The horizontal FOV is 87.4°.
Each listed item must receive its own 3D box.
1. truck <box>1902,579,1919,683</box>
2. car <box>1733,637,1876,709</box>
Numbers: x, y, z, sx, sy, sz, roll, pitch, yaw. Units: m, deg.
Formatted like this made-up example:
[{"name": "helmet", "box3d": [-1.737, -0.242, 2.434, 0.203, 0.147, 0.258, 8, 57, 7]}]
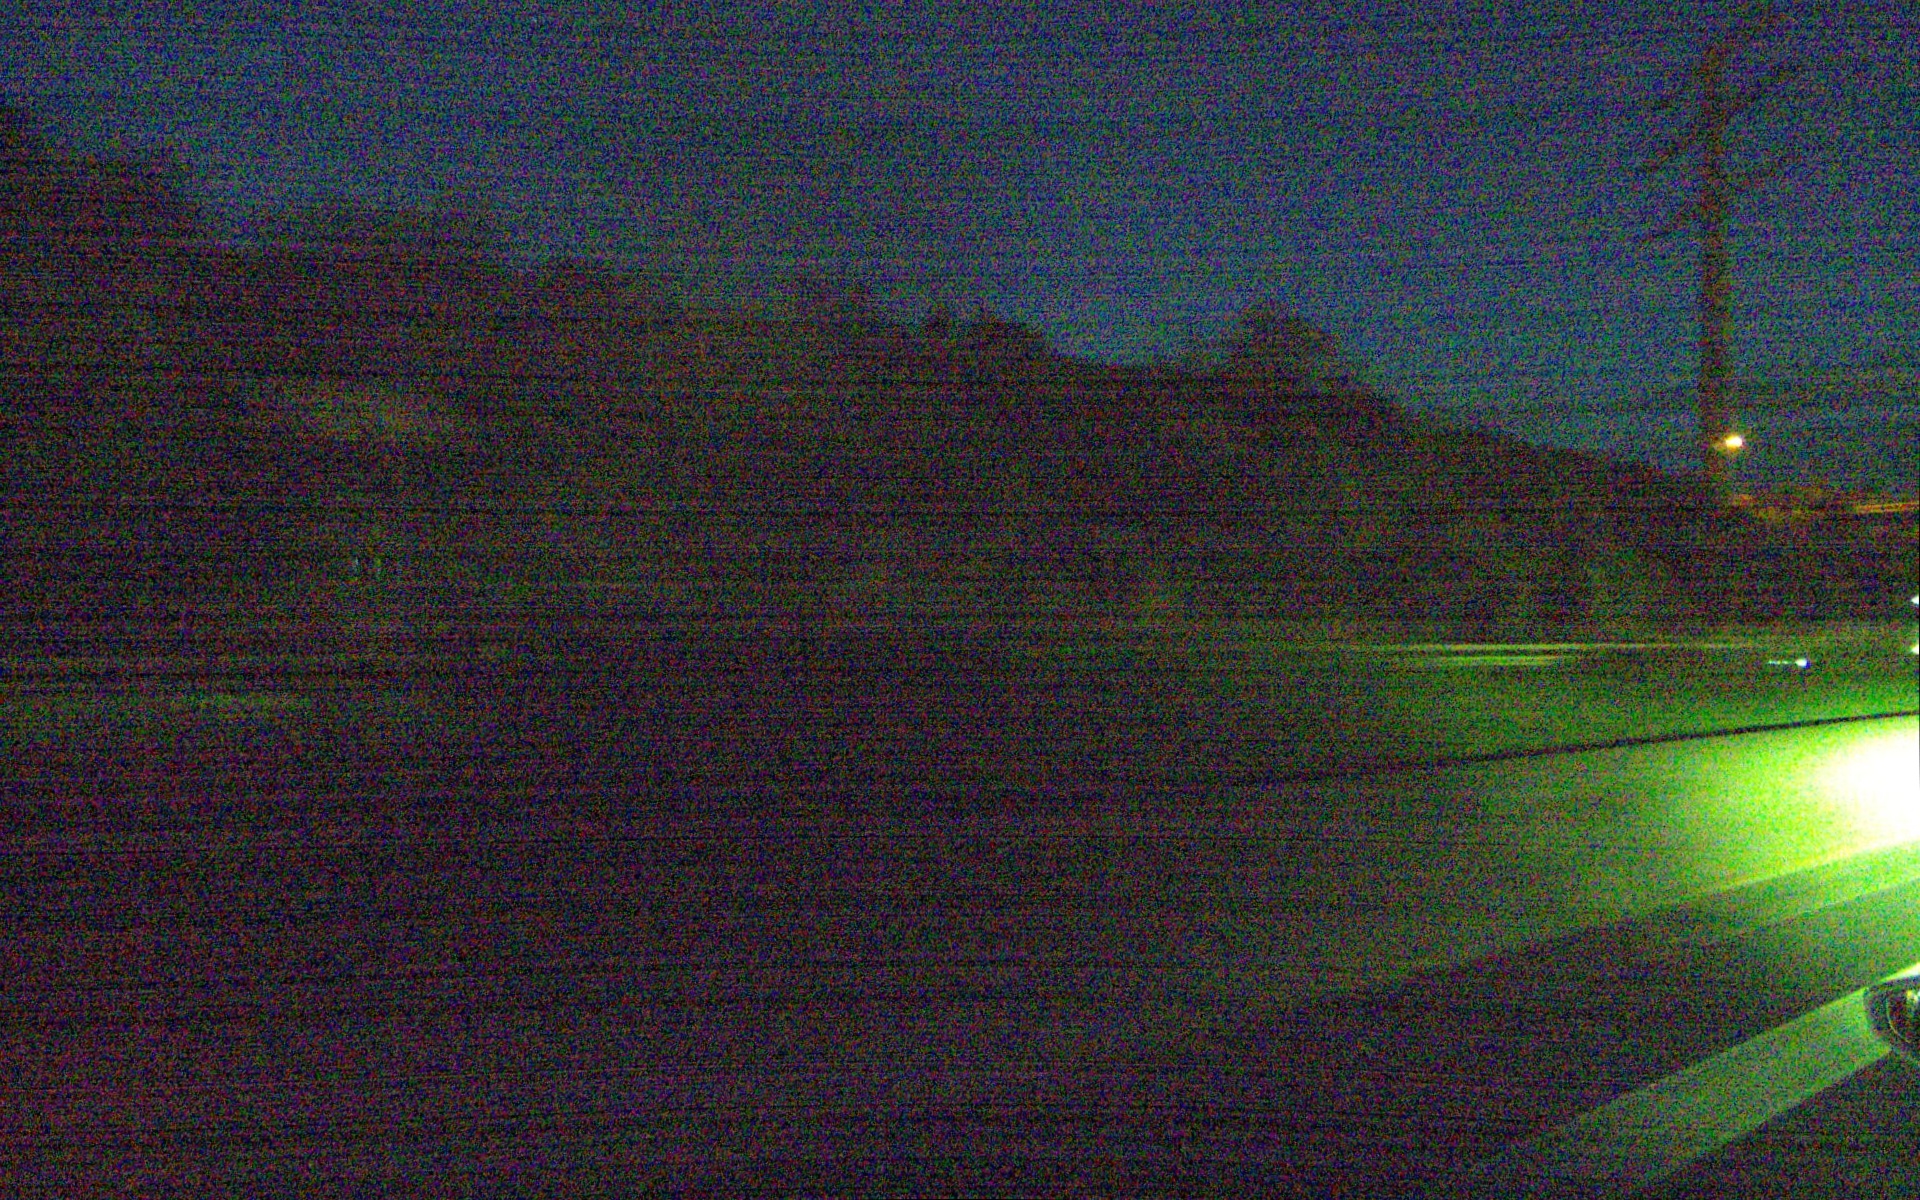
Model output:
[{"name": "truck", "box3d": [49.875, 1.372, 47.270, 17.231, 4.549, 3.231, 0, 1, -30]}, {"name": "car", "box3d": [24.680, 2.058, 29.329, 4.449, 1.785, 1.889, 0, 1, -32]}]
